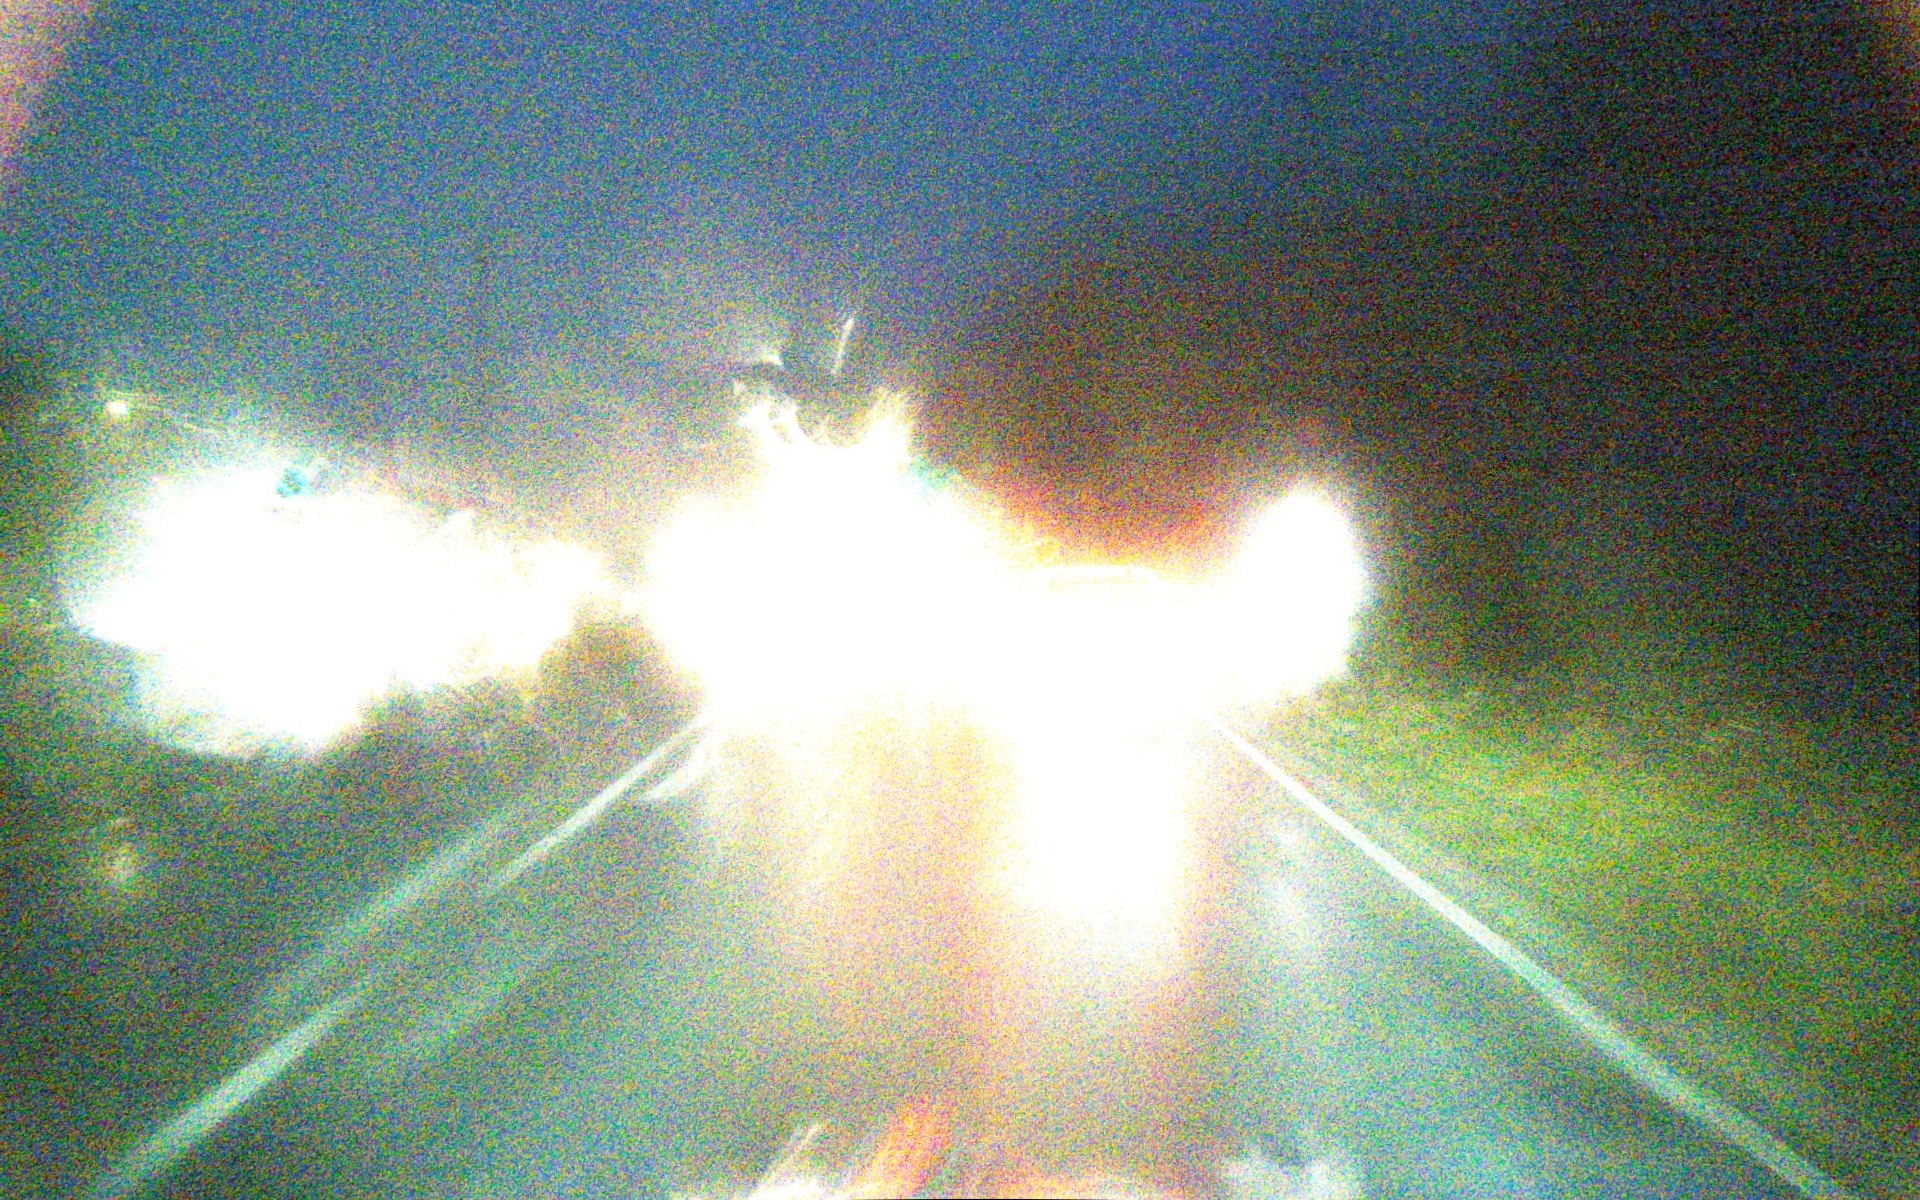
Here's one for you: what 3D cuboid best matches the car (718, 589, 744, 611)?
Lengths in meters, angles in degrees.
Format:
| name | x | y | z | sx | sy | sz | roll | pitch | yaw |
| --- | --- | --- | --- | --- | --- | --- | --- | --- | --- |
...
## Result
| name | x | y | z | sx | sy | sz | roll | pitch | yaw |
| --- | --- | --- | --- | --- | --- | --- | --- | --- | --- |
| car | -16.896 | 0.022 | 122.014 | 1.767 | 1.616 | 4.025 | 0 | 0 | -6 |

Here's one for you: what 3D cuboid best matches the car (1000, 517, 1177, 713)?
| name | x | y | z | sx | sy | sz | roll | pitch | yaw |
| --- | --- | --- | --- | --- | --- | --- | --- | --- | --- |
| car | 1.424 | 0.135 | 19.899 | 1.755 | 2.057 | 4.580 | -1 | 1 | 0 |

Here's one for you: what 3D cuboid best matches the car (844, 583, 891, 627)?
| name | x | y | z | sx | sy | sz | roll | pitch | yaw |
| --- | --- | --- | --- | --- | --- | --- | --- | --- | --- |
| car | -4.001 | 0.194 | 71.151 | 1.749 | 1.813 | 4.430 | -1 | 1 | -6 |

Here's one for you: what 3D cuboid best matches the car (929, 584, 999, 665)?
| name | x | y | z | sx | sy | sz | roll | pitch | yaw |
| --- | --- | --- | --- | --- | --- | --- | --- | --- | --- |
| car | 0.103 | 0.605 | 44.752 | 1.755 | 2.057 | 4.580 | -1 | 1 | 0 |
